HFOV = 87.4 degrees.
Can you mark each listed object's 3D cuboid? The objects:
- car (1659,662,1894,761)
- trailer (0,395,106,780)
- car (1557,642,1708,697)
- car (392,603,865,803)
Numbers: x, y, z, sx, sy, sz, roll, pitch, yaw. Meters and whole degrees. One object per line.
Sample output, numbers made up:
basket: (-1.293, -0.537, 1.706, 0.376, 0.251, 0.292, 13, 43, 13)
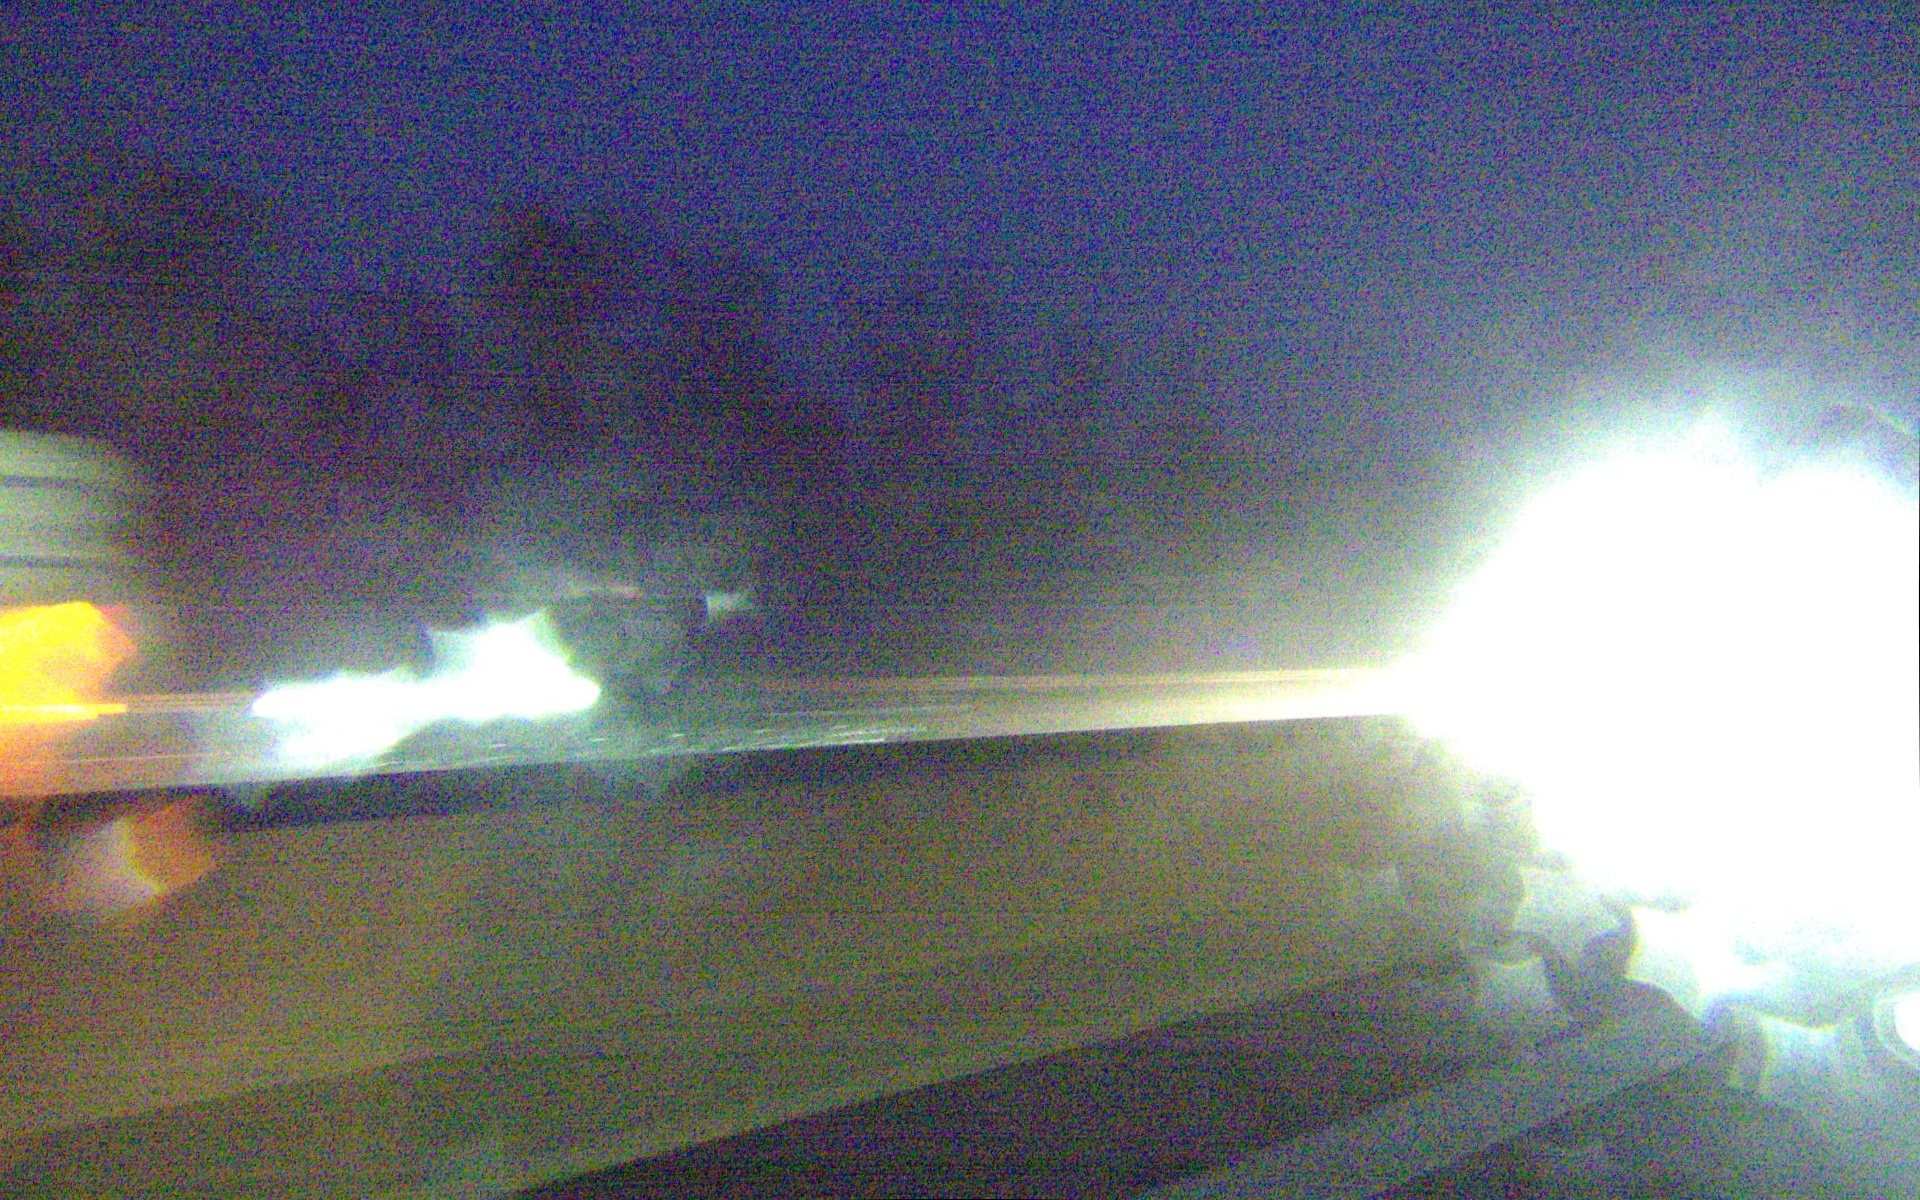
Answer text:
car: (15.141, 1.964, 18.595, 4.395, 1.495, 1.955, 2, 0, -30)
trailer: (-15.051, -0.185, 10.471, 8.833, 4.332, 2.926, 2, -3, -31)
car: (21.102, 2.119, 31.472, 4.907, 1.521, 1.984, 2, 0, -30)
car: (-3.723, 1.024, 11.518, 4.823, 1.848, 2.052, 2, 0, -30)
